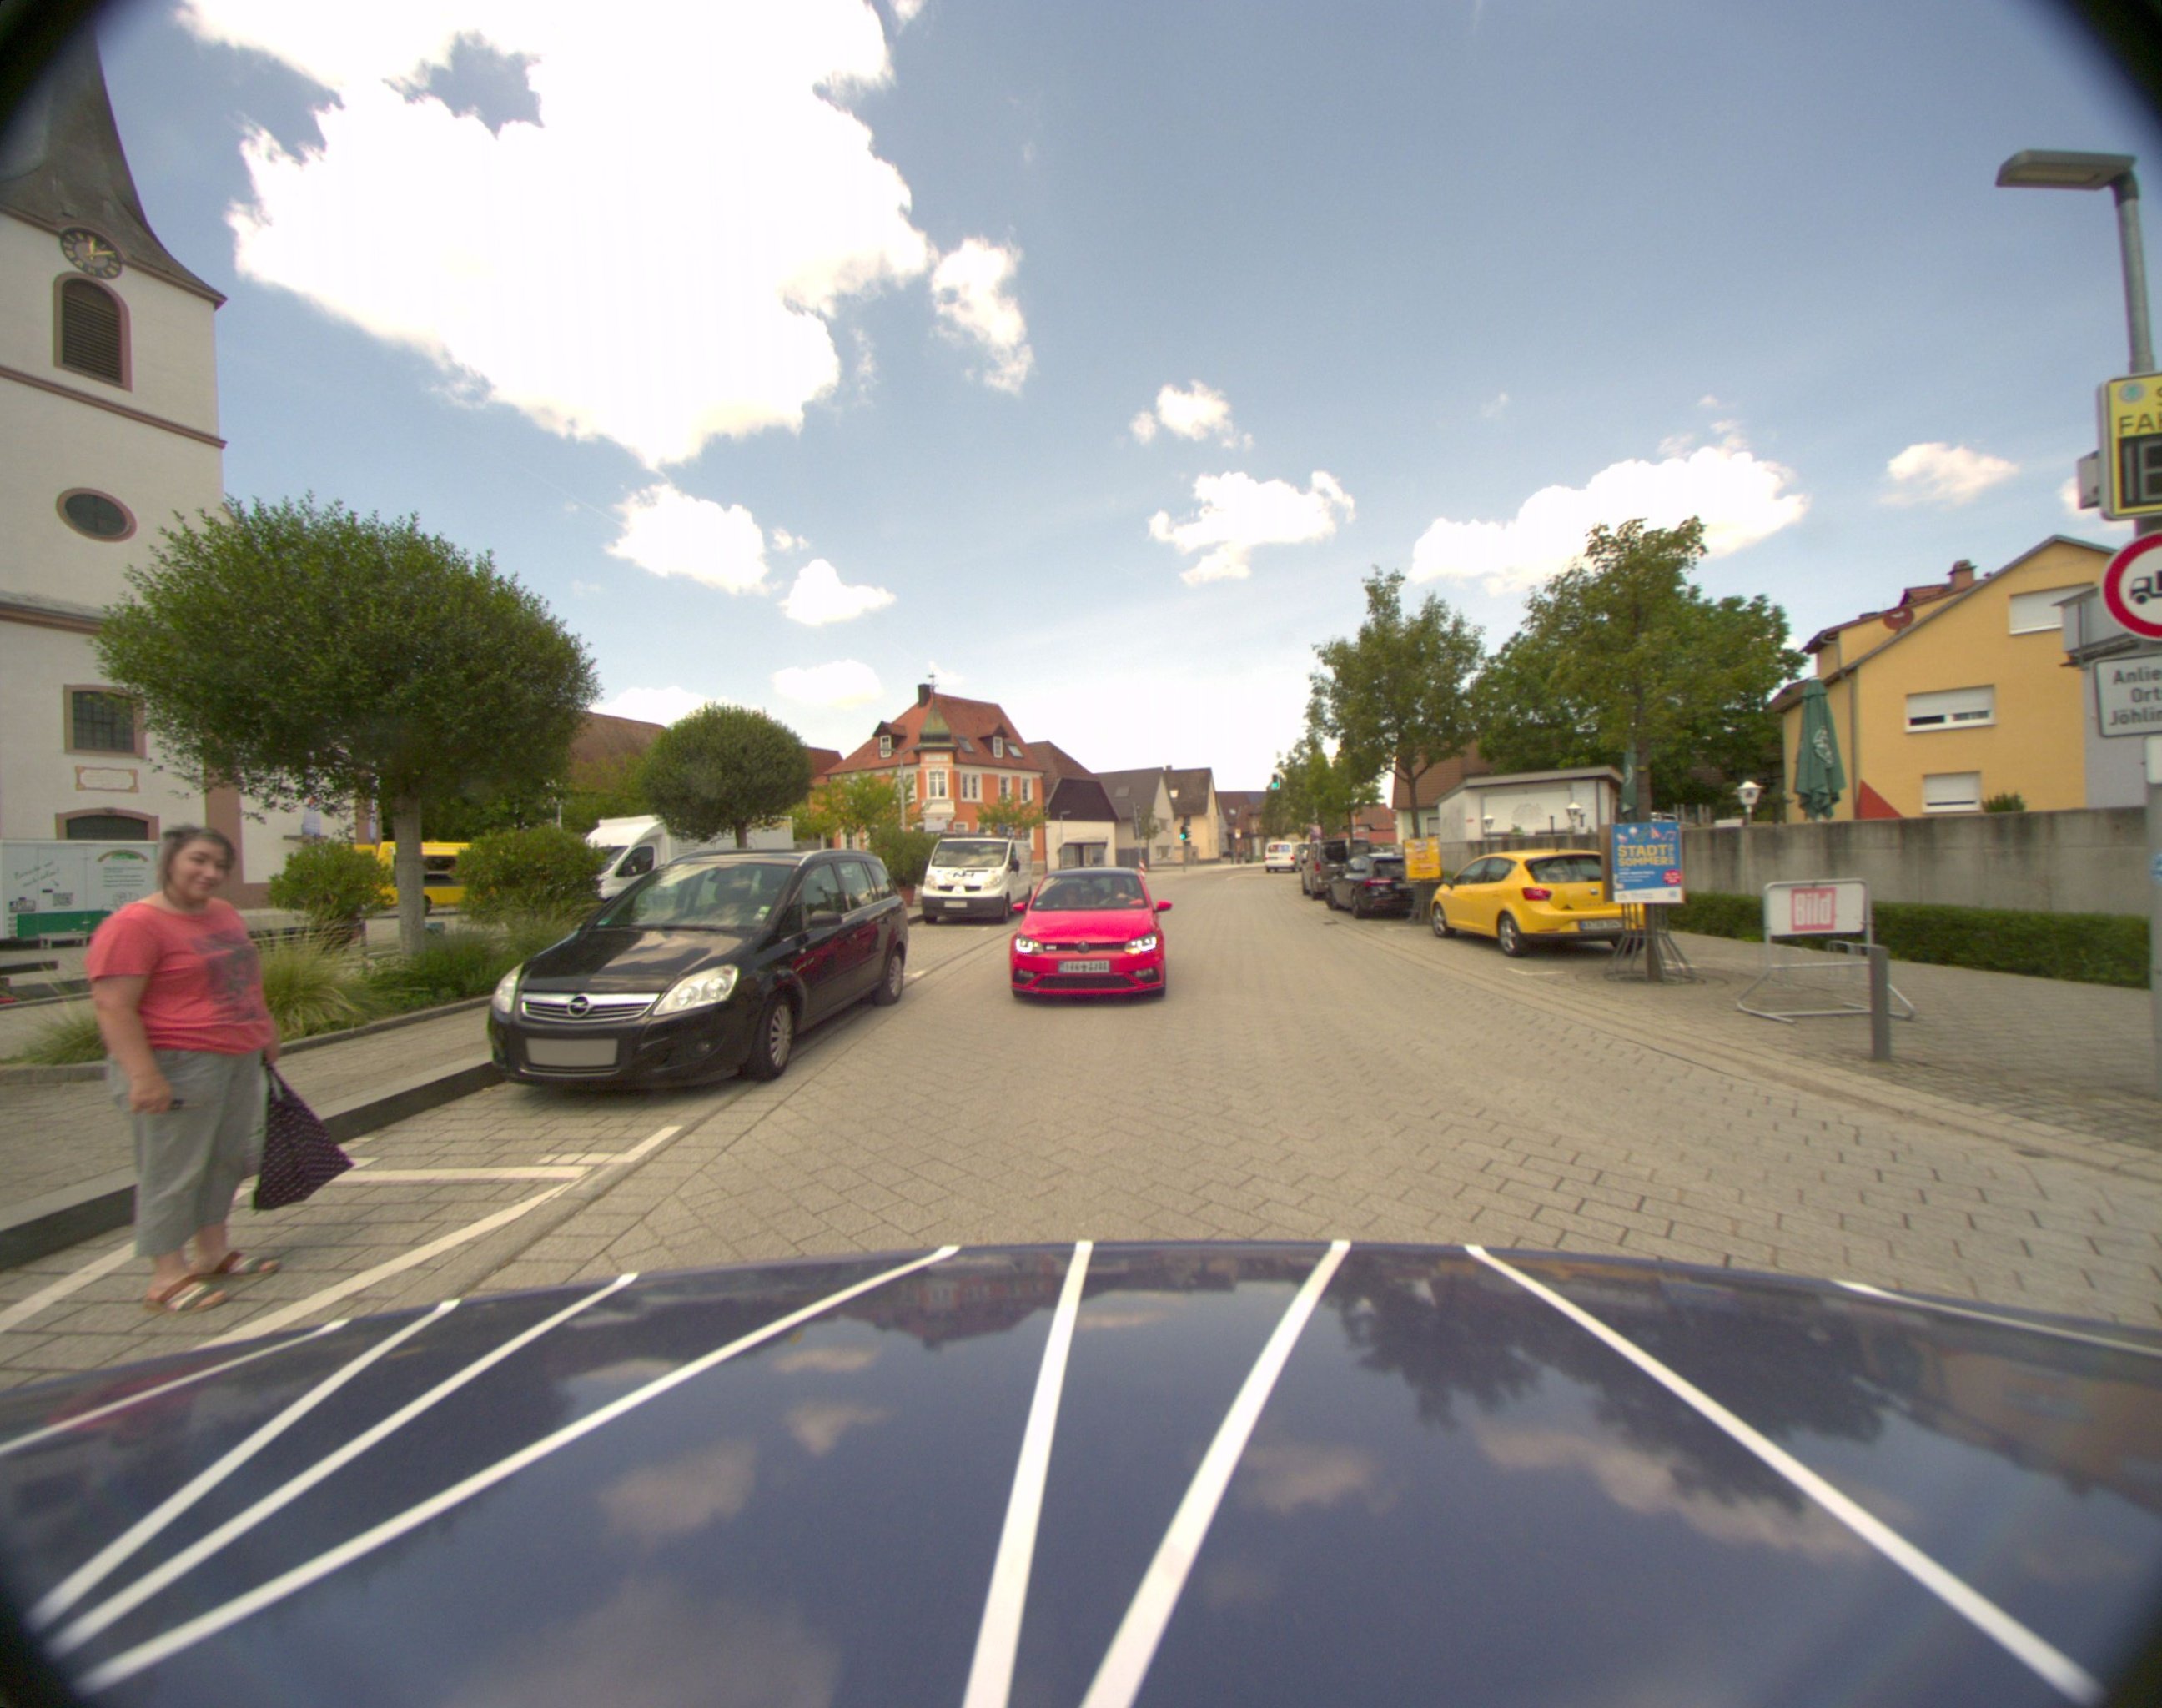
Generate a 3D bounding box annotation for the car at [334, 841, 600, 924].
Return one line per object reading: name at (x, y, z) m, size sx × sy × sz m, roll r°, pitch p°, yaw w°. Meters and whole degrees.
car at (-21.389, 0.876, 26.934) m, size 6.978 × 2.463 × 2.646 m, roll -2°, pitch 1°, yaw -40°

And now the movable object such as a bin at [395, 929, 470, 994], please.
movable object such as a bin at (-7.951, 1.311, 9.322) m, size 0.566 × 0.728 × 0.391 m, roll -1°, pitch 1°, yaw 7°

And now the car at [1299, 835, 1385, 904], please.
car at (8.394, 0.455, 24.904) m, size 1.989 × 1.979 × 5.048 m, roll -2°, pitch 0°, yaw 12°

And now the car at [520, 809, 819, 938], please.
car at (-10.843, 0.359, 21.079) m, size 2.755 × 2.946 × 7.123 m, roll 0°, pitch 1°, yaw 21°

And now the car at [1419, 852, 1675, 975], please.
car at (6.608, 0.732, 11.330) m, size 1.671 × 1.466 × 3.964 m, roll -1°, pitch 0°, yaw 6°

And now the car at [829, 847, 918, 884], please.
car at (-12.281, 0.661, 45.415) m, size 1.995 × 2.002 × 5.504 m, roll -2°, pitch 0°, yaw 25°

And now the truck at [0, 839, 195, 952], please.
truck at (-26.522, 1.000, 18.989) m, size 6.812 × 2.483 × 2.961 m, roll -2°, pitch 0°, yaw 15°

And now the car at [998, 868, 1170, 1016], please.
car at (0.075, 0.975, 10.018) m, size 1.782 × 1.404 × 3.887 m, roll -2°, pitch 1°, yaw 1°

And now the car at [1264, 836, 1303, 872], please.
car at (13.369, -0.042, 49.919) m, size 1.889 × 2.173 × 5.037 m, roll -1°, pitch 1°, yaw 21°

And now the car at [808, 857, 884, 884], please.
car at (-14.408, 0.980, 46.893) m, size 1.620 × 1.475 × 4.730 m, roll -2°, pitch 0°, yaw 25°

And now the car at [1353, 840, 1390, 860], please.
car at (23.628, -0.338, 61.637) m, size 1.733 × 1.482 × 4.509 m, roll -1°, pitch 1°, yaw 35°

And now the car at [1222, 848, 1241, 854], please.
car at (25.852, -0.477, 130.797) m, size 1.803 × 1.053 × 3.996 m, roll -2°, pitch 0°, yaw -9°

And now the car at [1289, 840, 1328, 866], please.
car at (17.795, -0.095, 59.209) m, size 1.995 × 1.869 × 4.874 m, roll -2°, pitch 0°, yaw 27°

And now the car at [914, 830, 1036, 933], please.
car at (-2.387, 0.560, 18.590) m, size 1.947 × 2.165 × 5.102 m, roll 0°, pitch 1°, yaw 4°

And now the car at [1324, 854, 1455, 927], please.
car at (7.019, 0.752, 17.809) m, size 1.819 × 1.415 × 4.540 m, roll -2°, pitch 0°, yaw 9°

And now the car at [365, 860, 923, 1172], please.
car at (-2.841, 0.880, 6.301) m, size 1.772 × 1.555 × 4.419 m, roll 1°, pitch 1°, yaw 5°

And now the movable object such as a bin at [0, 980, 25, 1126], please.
movable object such as a bin at (-6.879, 1.224, 3.943) m, size 0.736 × 0.861 × 1.436 m, roll -2°, pitch 1°, yaw 0°

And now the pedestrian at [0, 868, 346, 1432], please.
pedestrian at (-3.106, 0.873, 2.532) m, size 0.640 × 1.619 × 0.620 m, roll -1°, pitch 1°, yaw 6°
